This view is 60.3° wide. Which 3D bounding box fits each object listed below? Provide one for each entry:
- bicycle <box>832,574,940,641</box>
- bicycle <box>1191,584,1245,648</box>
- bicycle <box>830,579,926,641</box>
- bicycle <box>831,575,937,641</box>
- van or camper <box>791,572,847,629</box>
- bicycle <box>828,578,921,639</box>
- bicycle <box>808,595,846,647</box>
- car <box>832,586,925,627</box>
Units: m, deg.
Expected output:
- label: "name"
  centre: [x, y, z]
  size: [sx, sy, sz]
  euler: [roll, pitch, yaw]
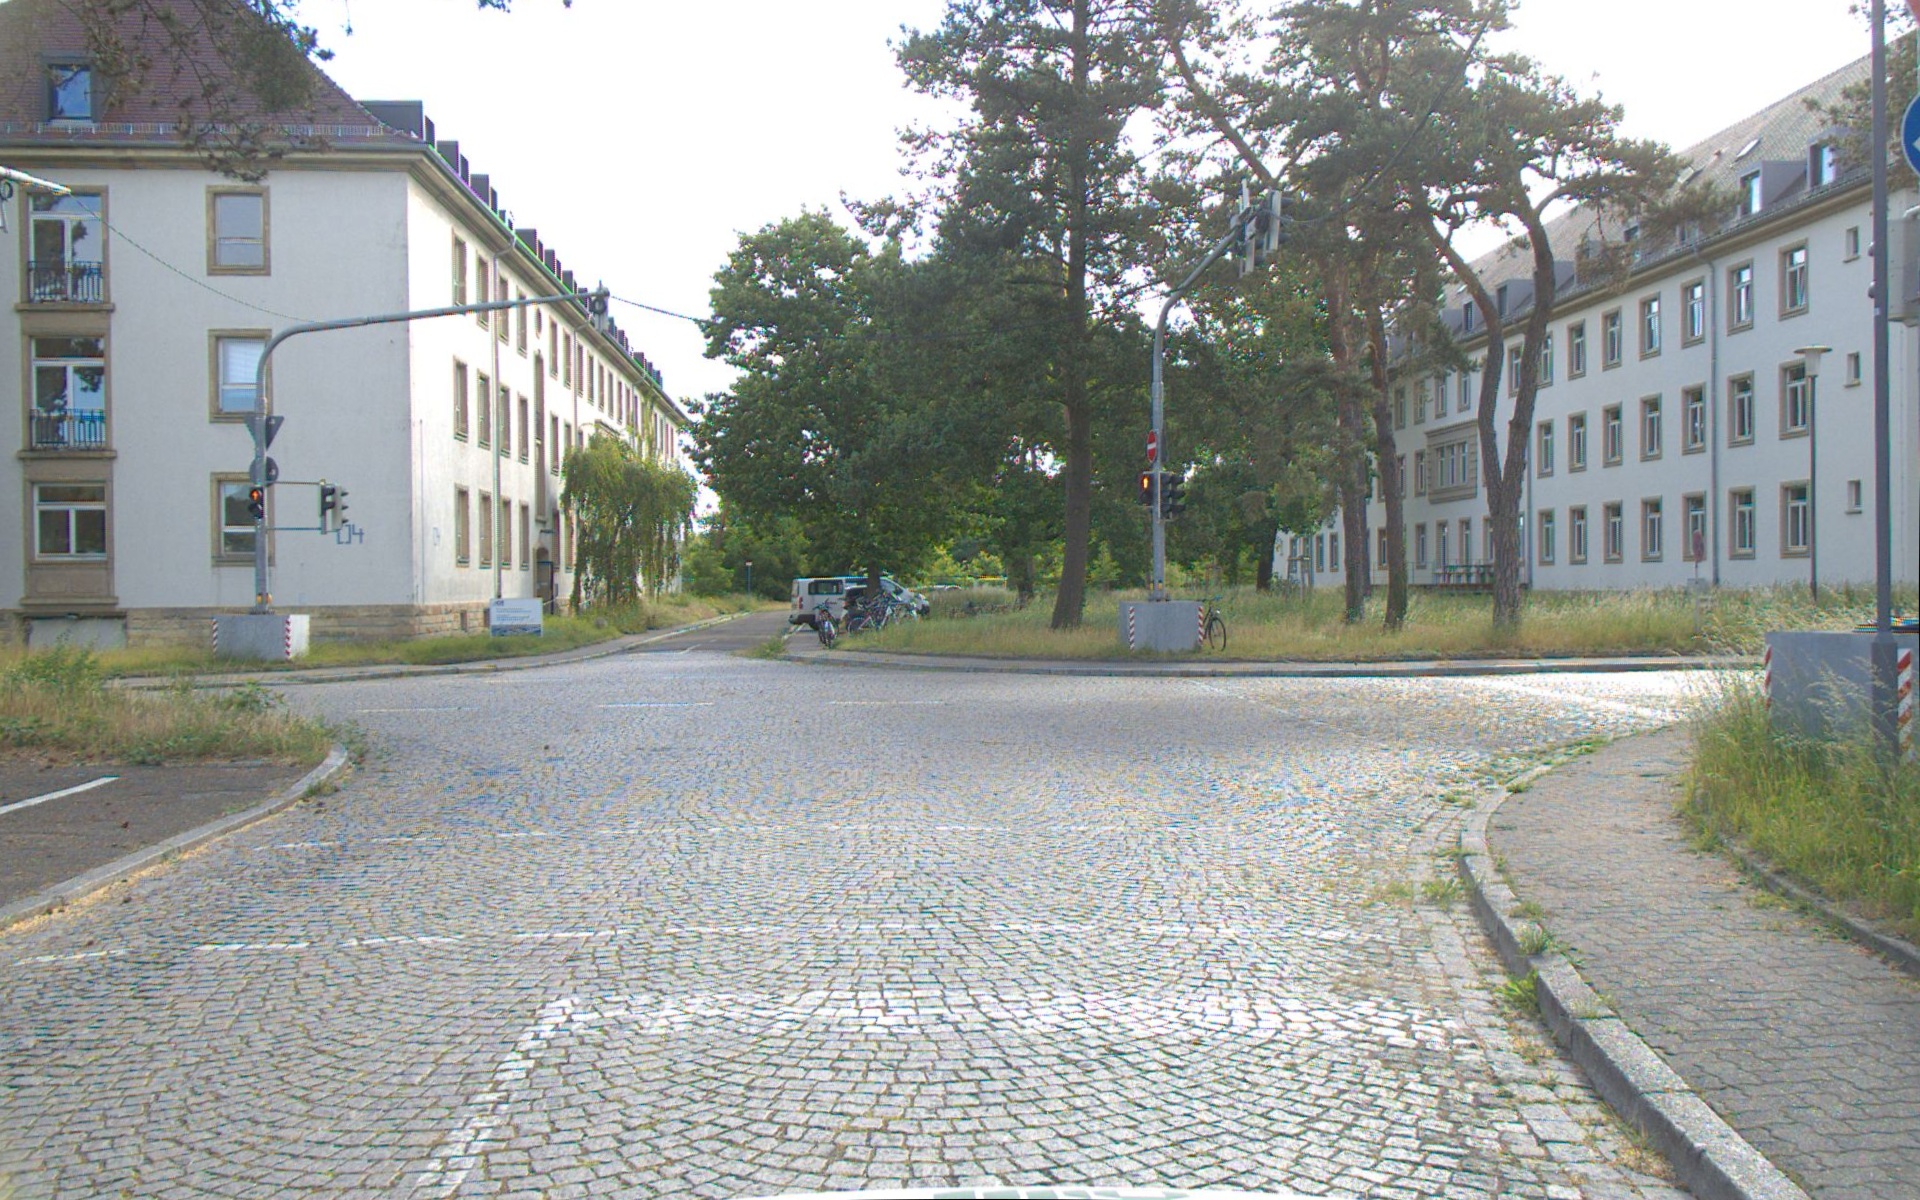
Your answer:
- label: "bicycle"
  centre: [-1.977, 0.186, 43.696]
  size: [2.725, 1.723, 1.118]
  euler: [-1, 0, -10]
- label: "bicycle"
  centre: [5.034, 0.296, 32.394]
  size: [0.709, 1.189, 2.738]
  euler: [1, 0, 2]
- label: "bicycle"
  centre: [-2.378, 0.280, 48.436]
  size: [2.719, 1.723, 1.120]
  euler: [2, 0, 0]
- label: "bicycle"
  centre: [-2.083, 0.205, 44.885]
  size: [2.726, 1.723, 1.117]
  euler: [-1, 0, -12]
- label: "van or camper"
  centre: [-5.297, -0.005, 61.941]
  size: [1.955, 1.983, 6.046]
  euler: [-1, 1, -5]
- label: "bicycle"
  centre: [-2.552, 0.257, 49.763]
  size: [2.720, 1.723, 1.119]
  euler: [2, 0, -3]
- label: "bicycle"
  centre: [-3.150, 0.473, 39.322]
  size: [0.711, 1.127, 2.461]
  euler: [-5, 0, -3]
- label: "car"
  centre: [-2.865, 0.222, 58.052]
  size: [3.080, 1.378, 1.616]
  euler: [-1, 0, -10]
